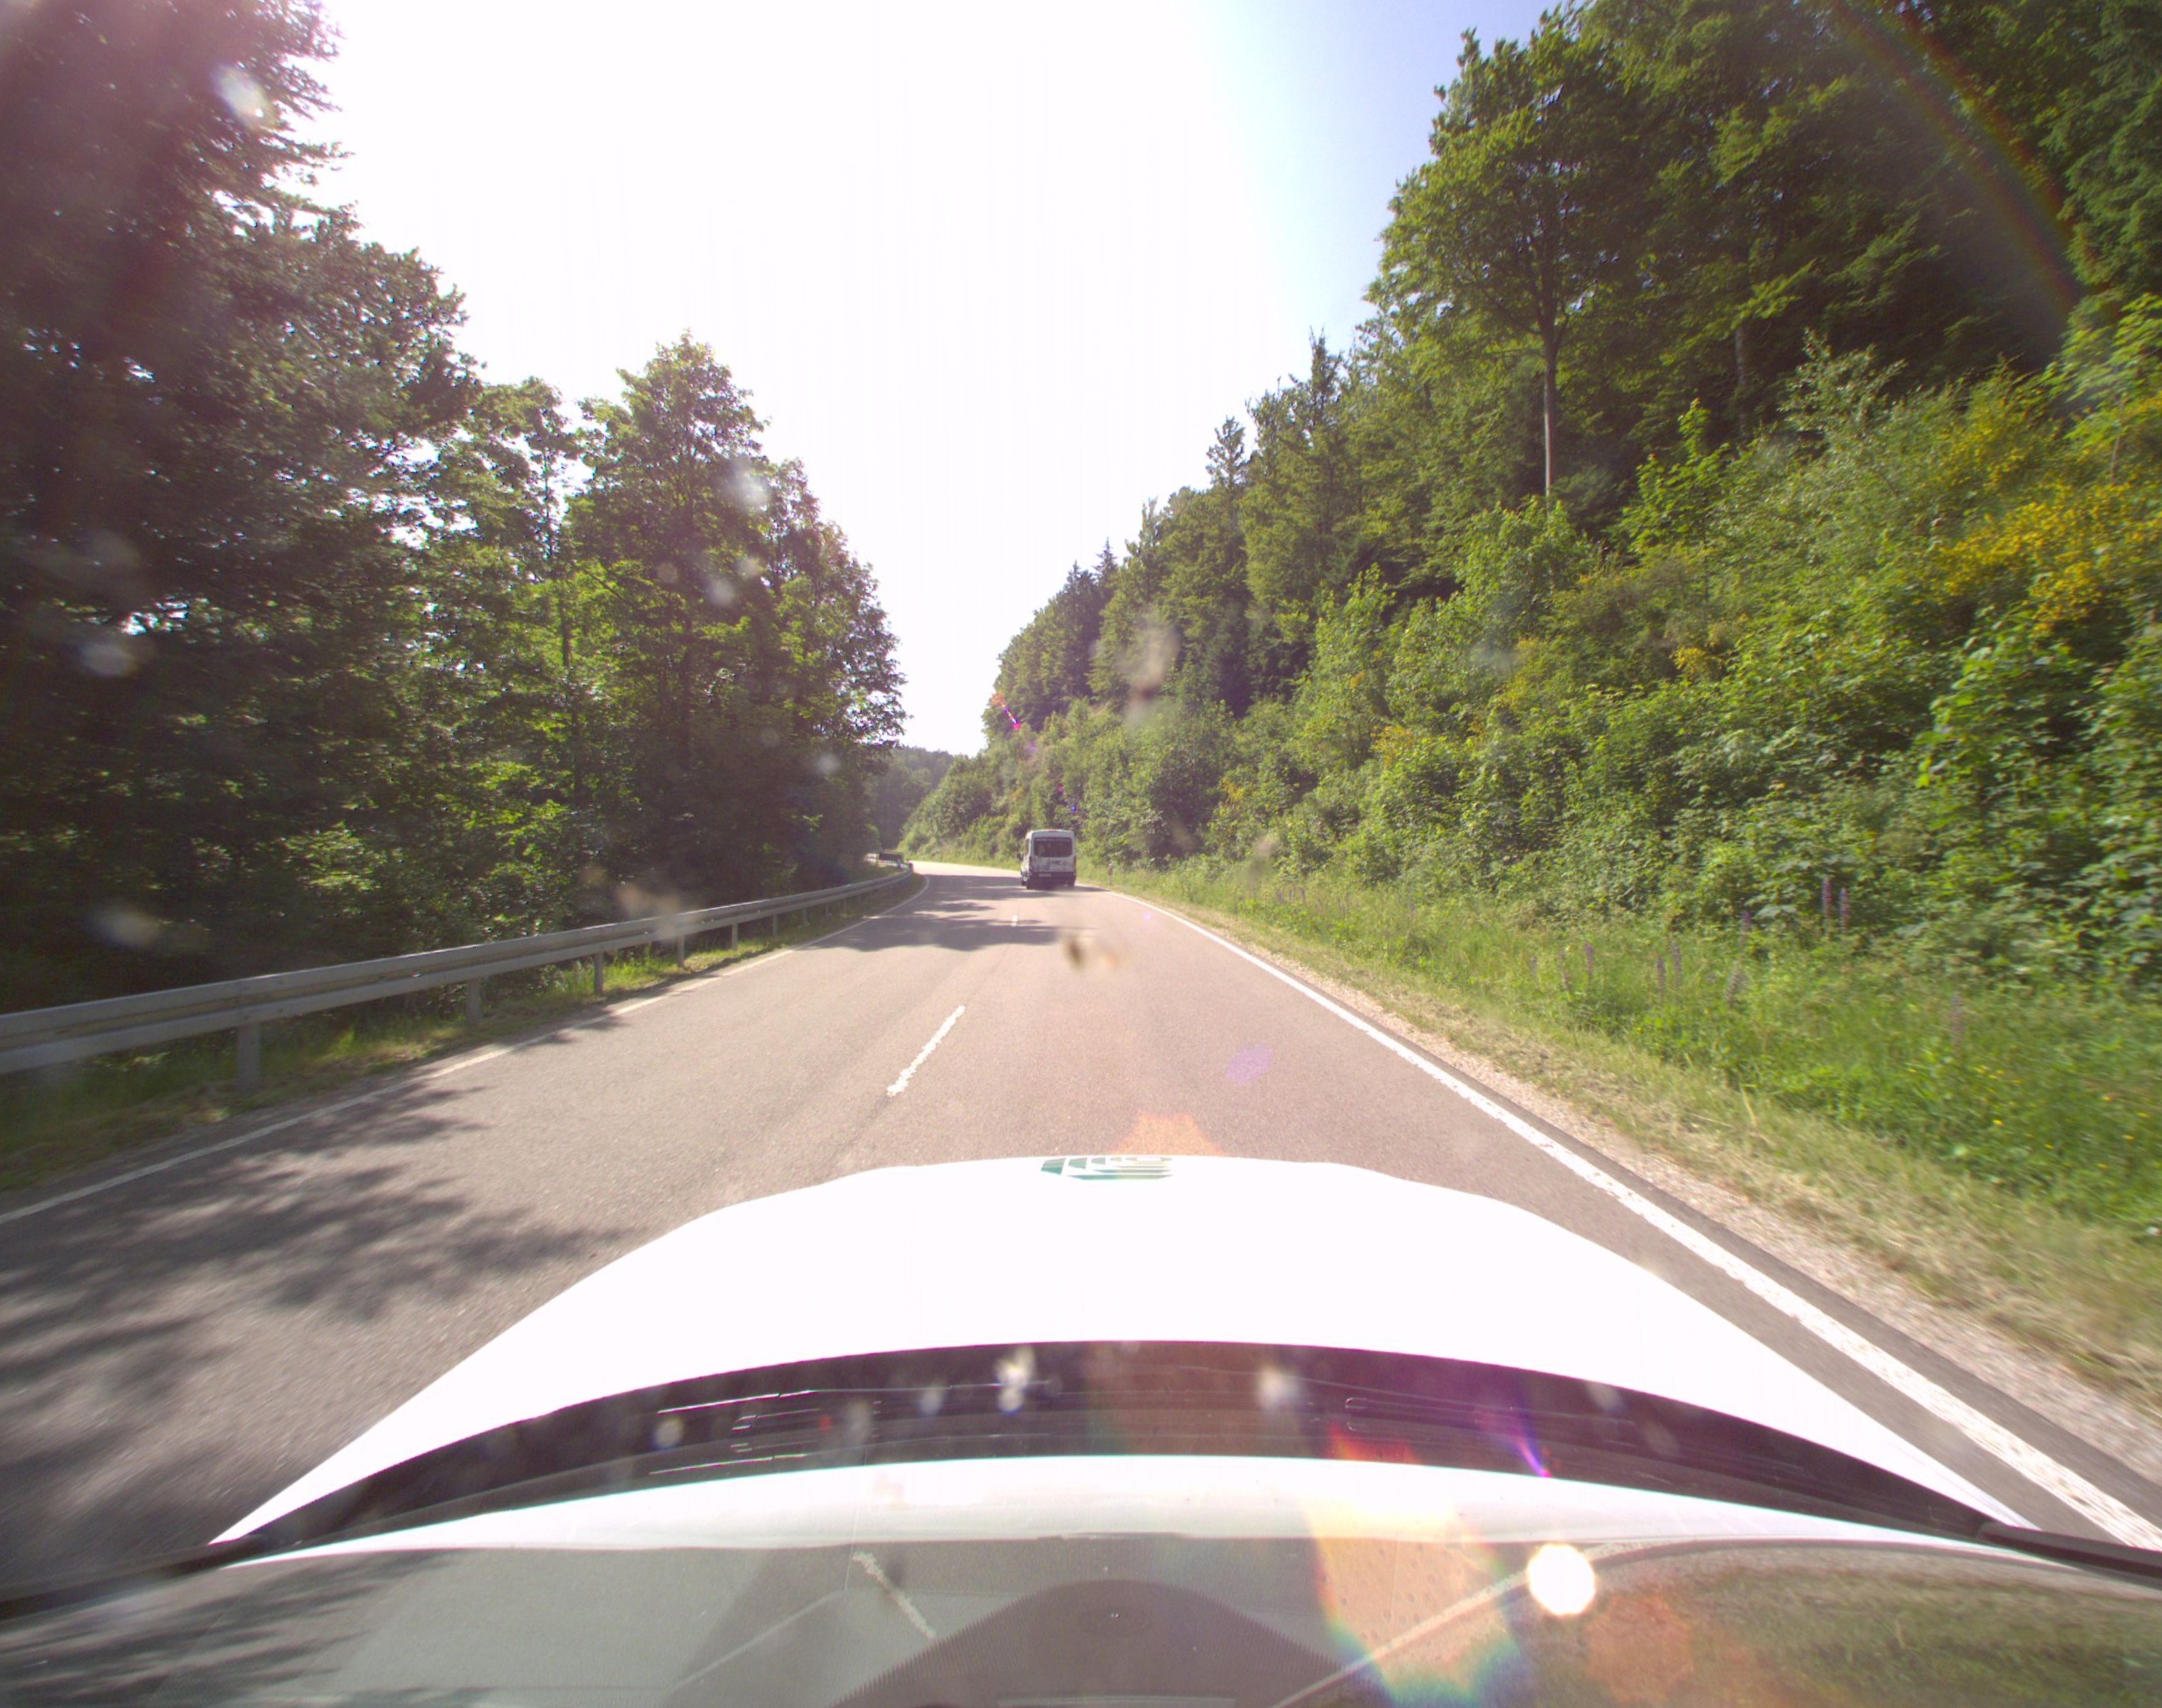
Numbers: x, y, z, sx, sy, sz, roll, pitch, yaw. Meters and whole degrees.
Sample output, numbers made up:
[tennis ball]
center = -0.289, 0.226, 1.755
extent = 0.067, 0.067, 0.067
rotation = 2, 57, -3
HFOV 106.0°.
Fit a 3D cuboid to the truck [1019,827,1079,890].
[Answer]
[truck]
center = -1.493, 0.167, 35.605
extent = 2.114, 2.498, 5.344
rotation = 0, 0, -8
